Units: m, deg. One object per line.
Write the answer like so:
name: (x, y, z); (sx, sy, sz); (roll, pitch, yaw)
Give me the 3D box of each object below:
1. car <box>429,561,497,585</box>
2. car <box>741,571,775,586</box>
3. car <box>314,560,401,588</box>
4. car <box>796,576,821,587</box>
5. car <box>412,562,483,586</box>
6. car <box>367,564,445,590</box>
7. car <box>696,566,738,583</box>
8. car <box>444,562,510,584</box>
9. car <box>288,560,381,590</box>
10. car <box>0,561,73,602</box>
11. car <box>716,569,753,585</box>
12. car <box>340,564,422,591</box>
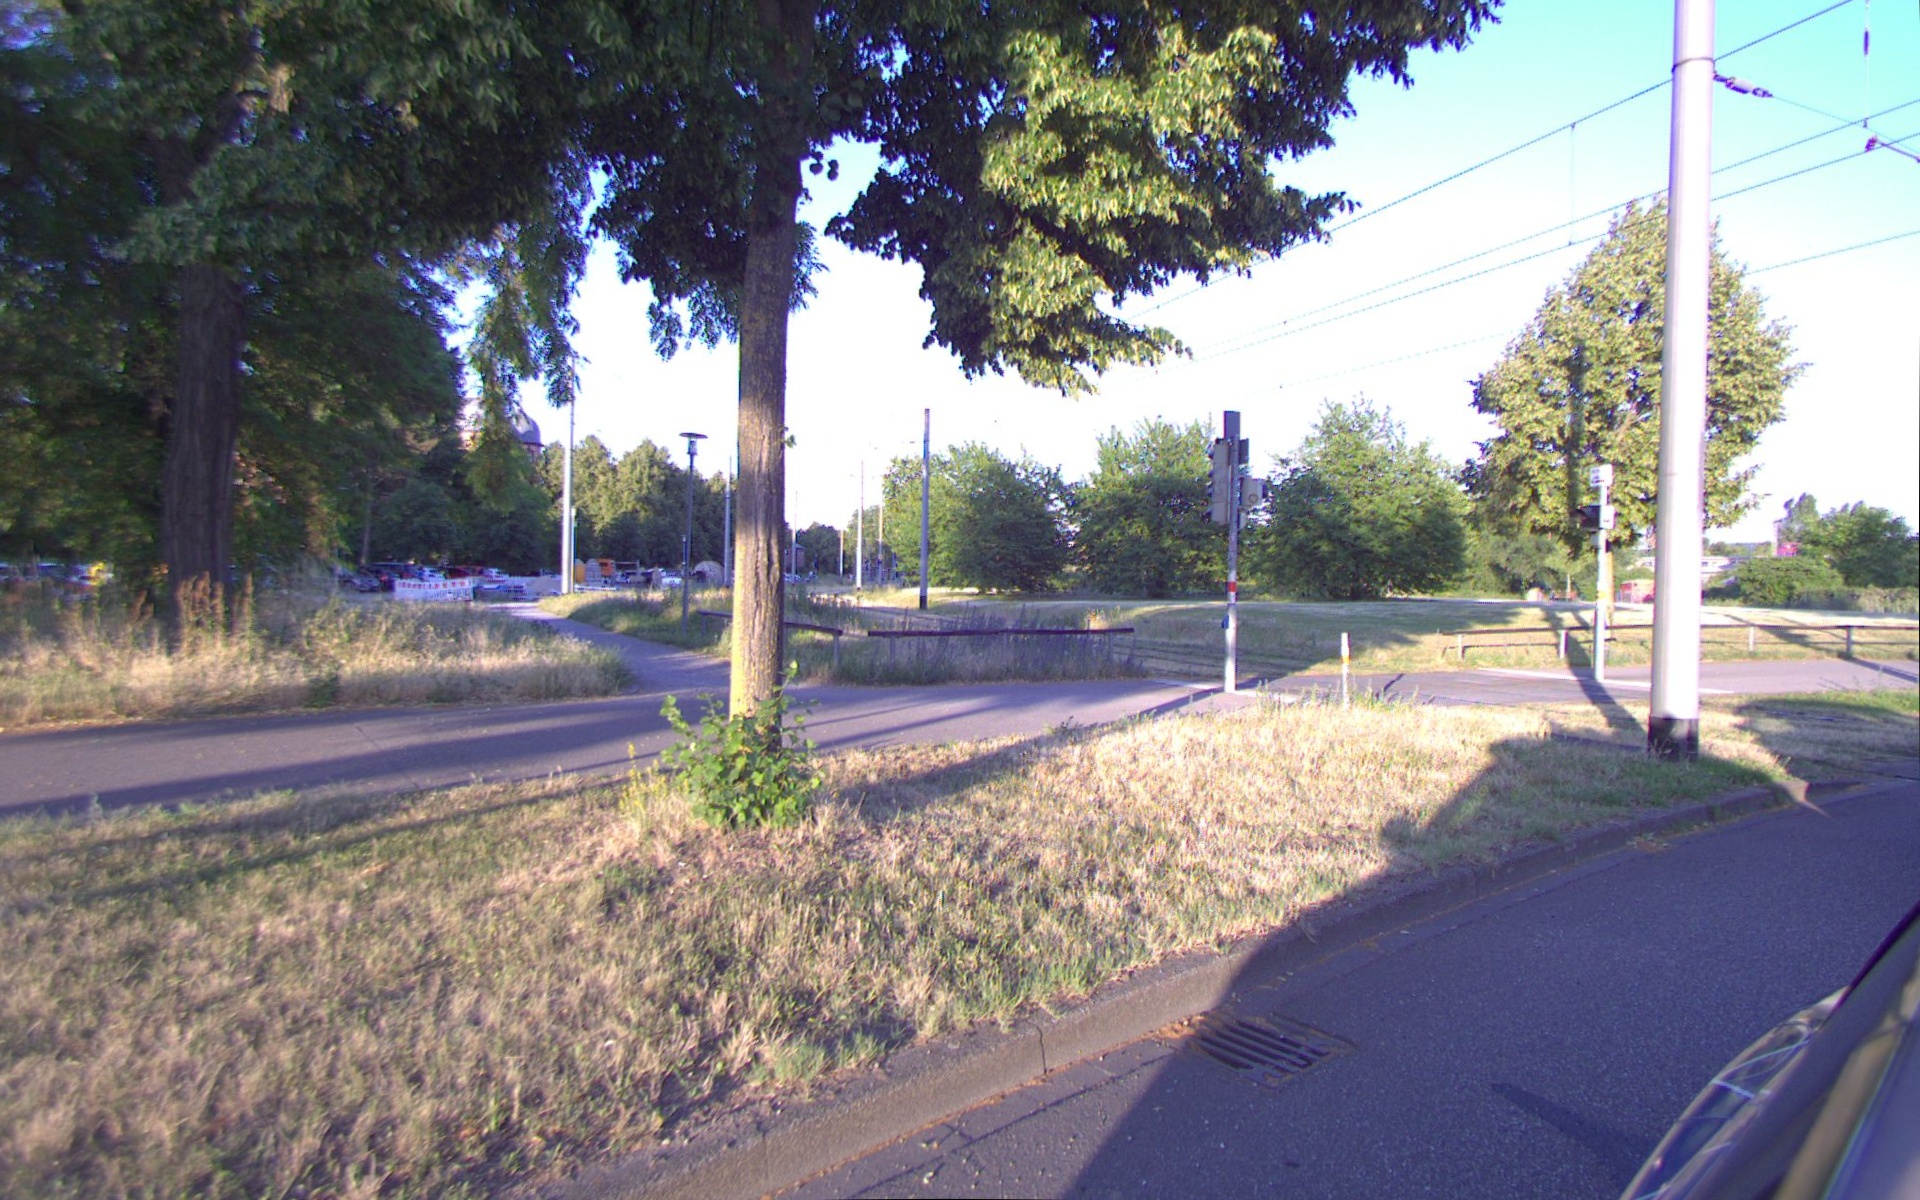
car: (-35.044, -1.906, 71.404); (3.921, 1.573, 1.905); (1, 1, -3)
car: (-22.324, -2.366, 111.860); (3.539, 1.500, 1.713); (2, 0, -6)
car: (-35.027, -1.494, 58.938); (3.921, 1.573, 1.905); (1, 1, -3)
car: (-22.431, -2.691, 150.163); (3.539, 1.500, 1.713); (2, 0, -6)
car: (-34.870, -1.785, 68.940); (3.921, 1.573, 1.905); (1, 1, -3)
car: (-35.214, -1.468, 64.399); (3.921, 1.573, 1.905); (1, 1, -3)
car: (-22.718, -2.374, 94.677); (3.539, 1.500, 1.713); (2, 0, -6)
car: (-35.210, -1.958, 73.812); (3.921, 1.573, 1.905); (1, 1, -3)
car: (-34.868, -1.389, 56.516); (4.018, 1.573, 1.905); (1, 1, -3)
car: (-35.408, -0.705, 37.139); (3.921, 1.463, 1.955); (1, 1, -3)
car: (-23.206, -2.392, 104.406); (3.539, 1.500, 1.713); (2, 0, -6)
car: (-35.112, -1.390, 61.464); (3.921, 1.573, 1.905); (1, 1, -3)
